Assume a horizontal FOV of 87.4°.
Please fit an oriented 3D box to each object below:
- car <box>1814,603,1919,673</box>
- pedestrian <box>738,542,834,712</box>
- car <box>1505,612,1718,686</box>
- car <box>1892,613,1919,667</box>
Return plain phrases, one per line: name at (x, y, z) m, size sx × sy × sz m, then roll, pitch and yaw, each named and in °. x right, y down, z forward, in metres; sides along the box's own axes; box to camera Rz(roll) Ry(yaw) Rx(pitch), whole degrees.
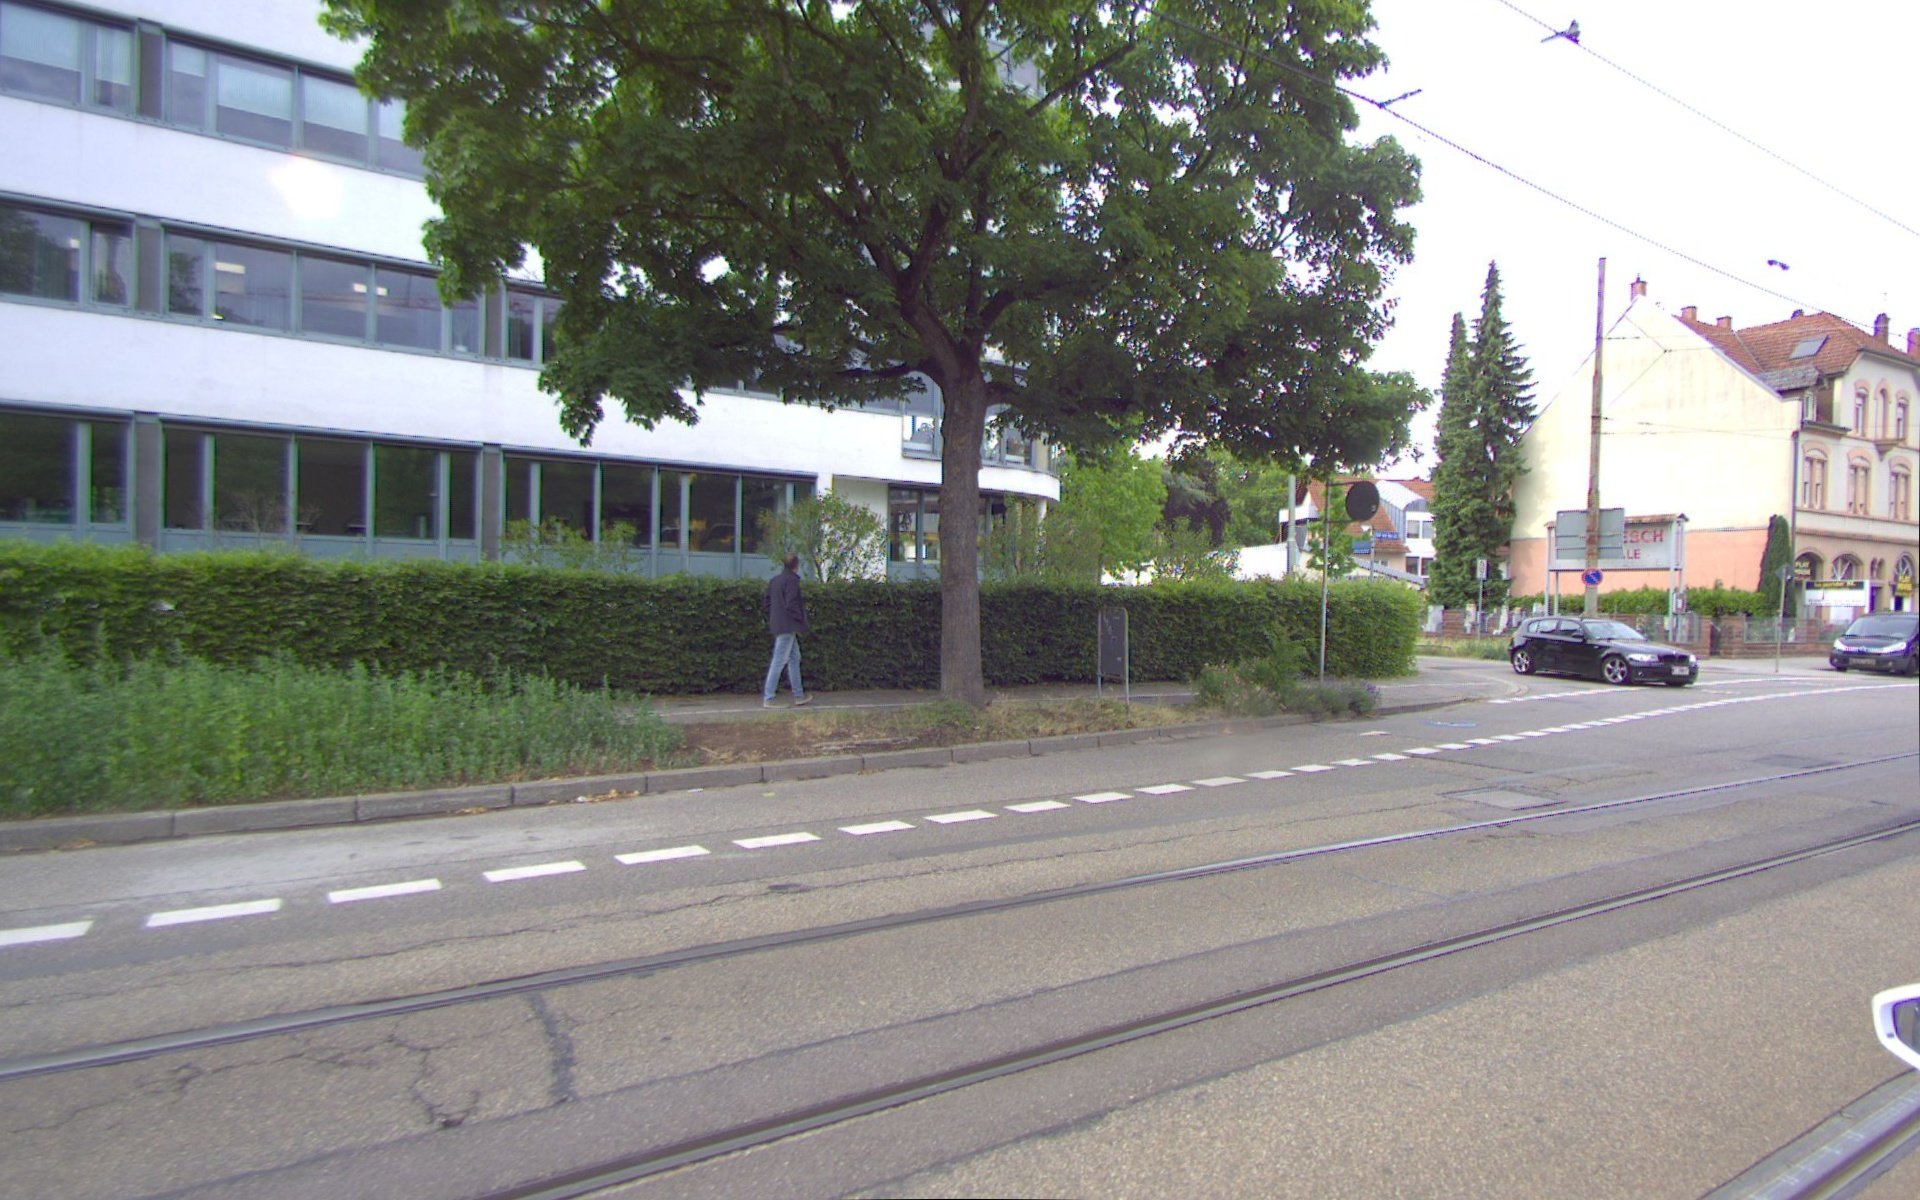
car at (28.534, 1.161, 30.703) m, size 4.936 × 1.912 × 1.983 m, roll 2°, pitch 1°, yaw -28°
pedestrian at (-2.171, 0.329, 12.521) m, size 0.977 × 2.041 × 0.708 m, roll 2°, pitch 1°, yaw -24°
car at (14.229, 1.025, 22.238) m, size 1.769 × 1.406 × 3.926 m, roll 1°, pitch 0°, yaw -9°
car at (33.291, 1.380, 33.634) m, size 4.142 × 1.741 × 1.836 m, roll 2°, pitch 1°, yaw -29°
